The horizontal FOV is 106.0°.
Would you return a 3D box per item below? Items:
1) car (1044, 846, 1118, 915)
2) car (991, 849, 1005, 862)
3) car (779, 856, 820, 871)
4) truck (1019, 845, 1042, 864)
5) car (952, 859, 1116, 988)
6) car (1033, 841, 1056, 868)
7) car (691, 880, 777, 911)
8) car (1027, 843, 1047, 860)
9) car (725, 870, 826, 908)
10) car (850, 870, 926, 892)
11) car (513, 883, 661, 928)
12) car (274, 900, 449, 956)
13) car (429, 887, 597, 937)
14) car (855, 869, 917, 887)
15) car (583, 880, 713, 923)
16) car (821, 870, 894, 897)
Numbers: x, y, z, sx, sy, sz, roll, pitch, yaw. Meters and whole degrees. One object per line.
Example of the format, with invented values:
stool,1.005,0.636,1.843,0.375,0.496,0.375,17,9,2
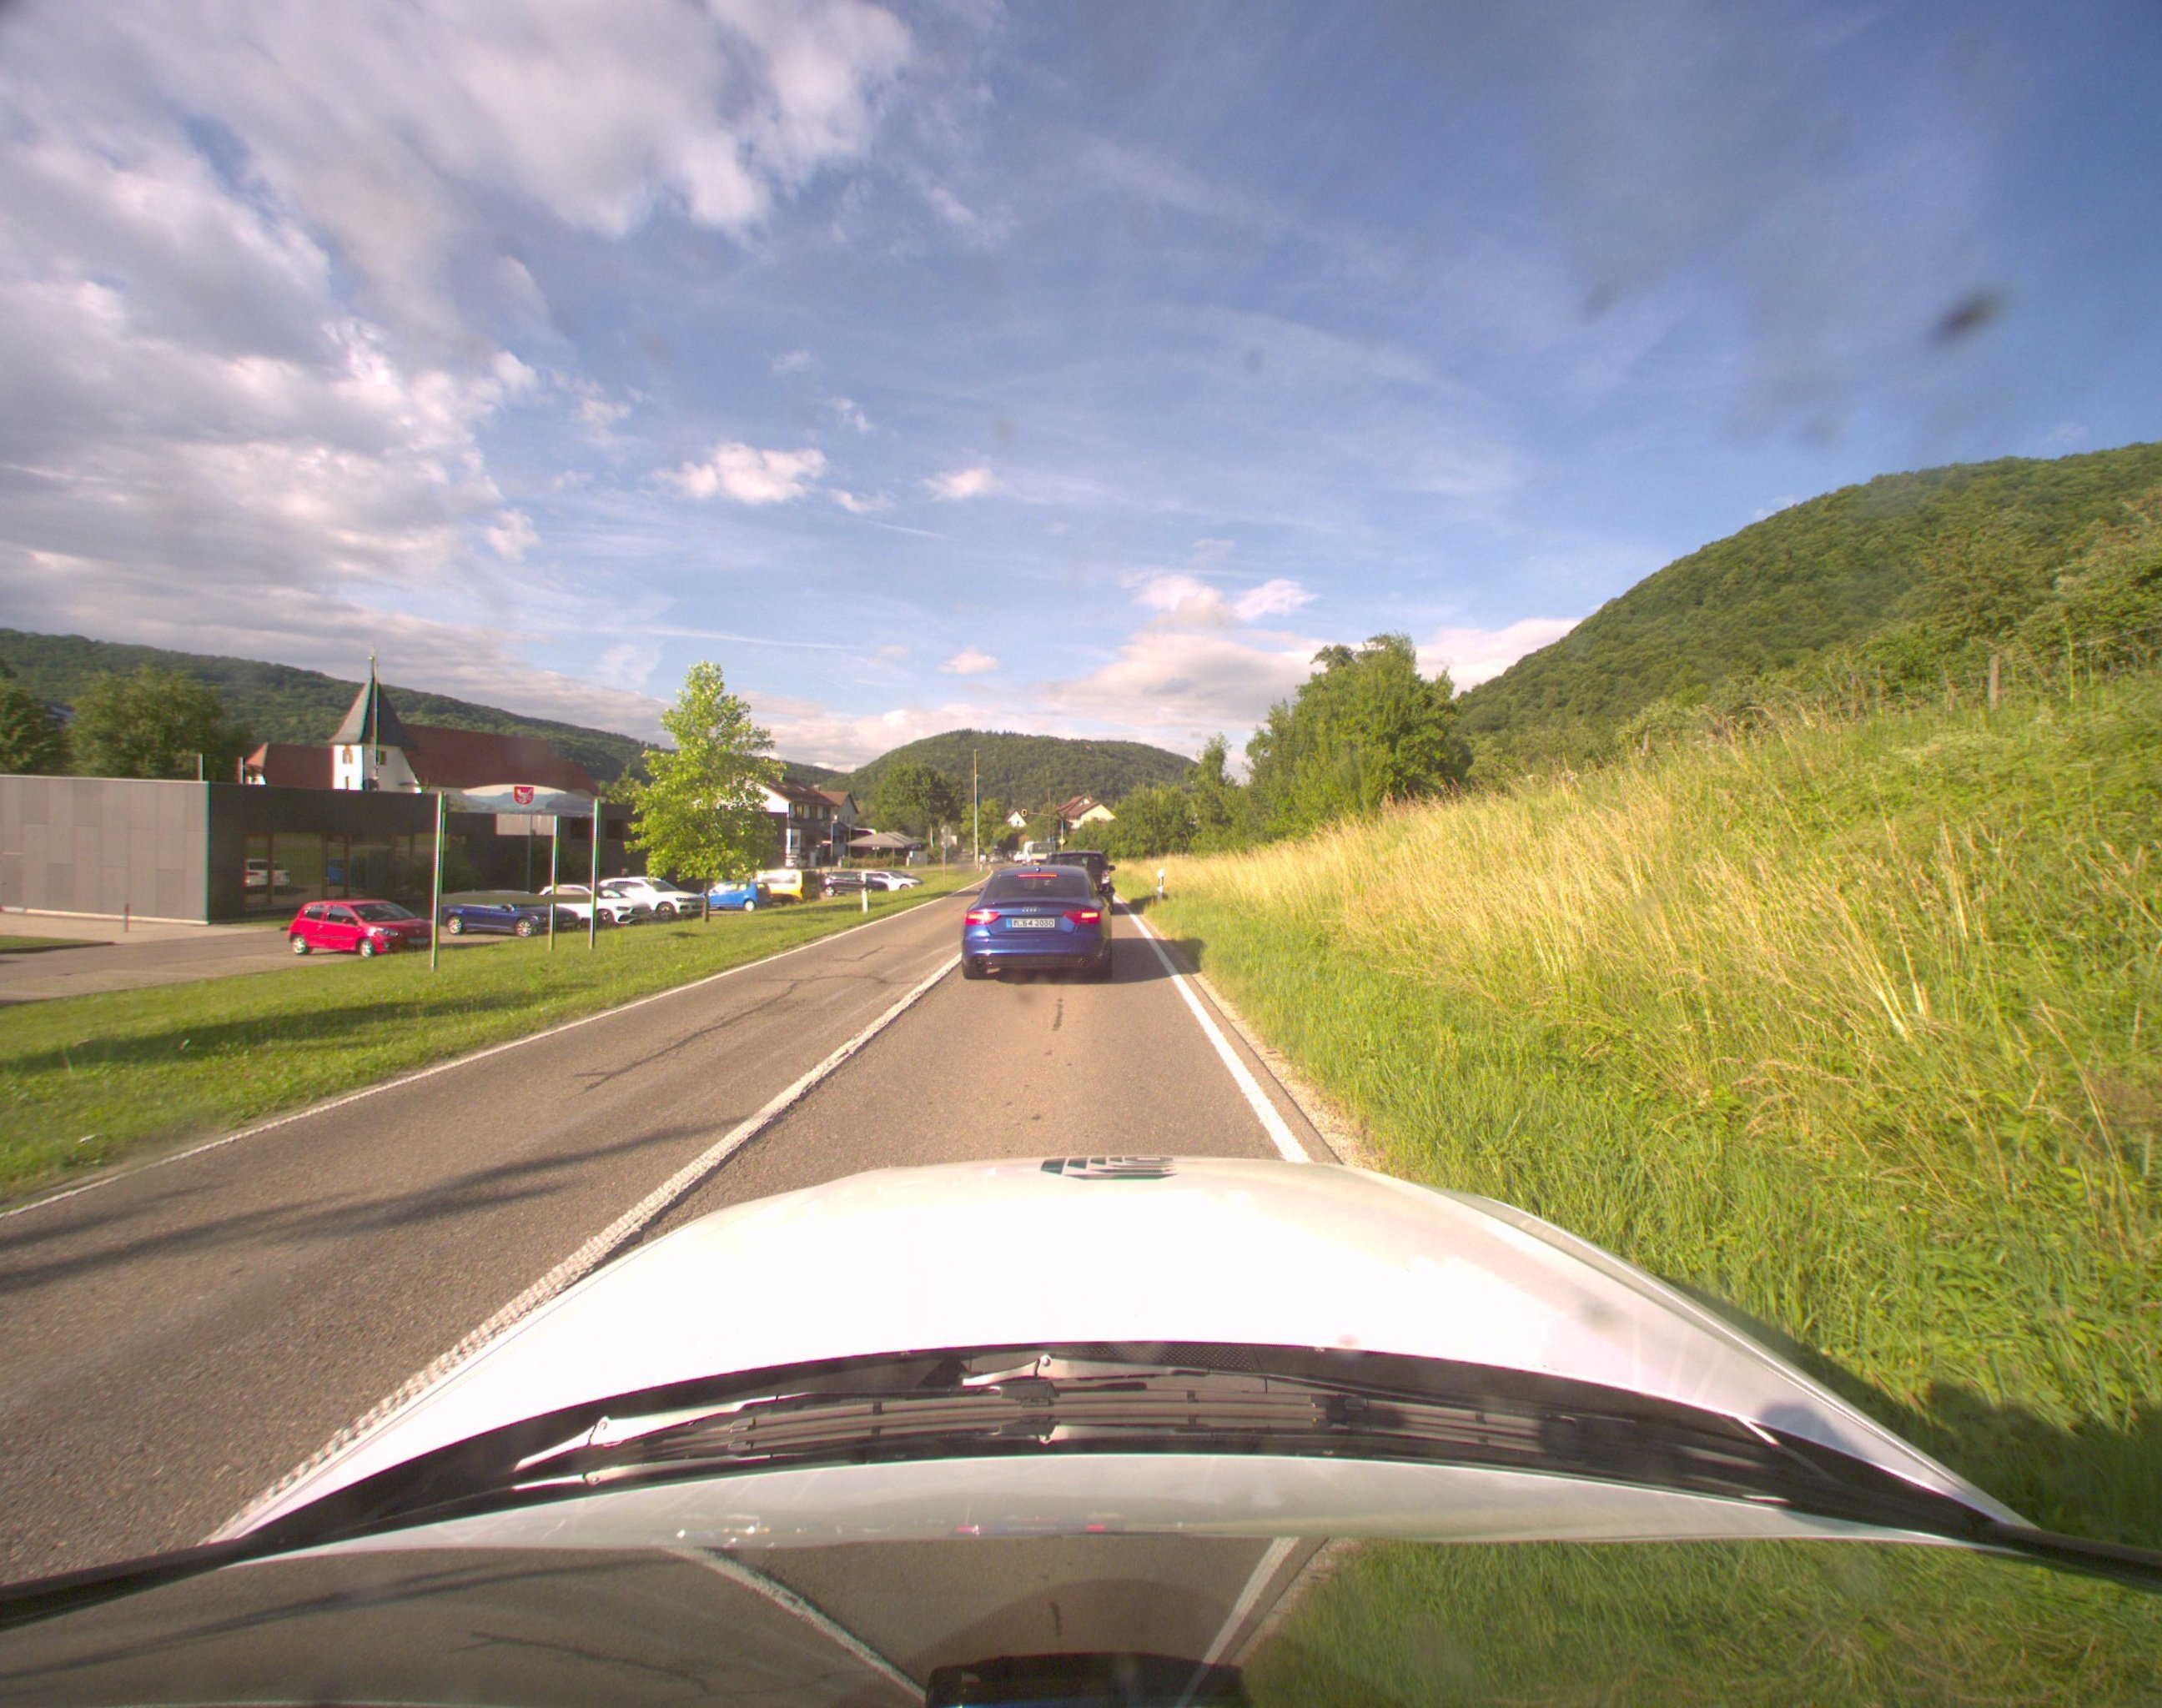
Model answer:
car,0.088,0.647,21.273,1.739,1.639,4.002,0,-1,2
car,-10.493,0.196,102.313,1.733,1.662,3.463,0,-1,-7
car,-28.850,0.951,83.521,1.749,1.442,4.021,-1,-1,22
truck,-5.389,0.065,86.419,1.698,1.953,5.899,0,-1,-11
car,-0.439,0.790,11.011,1.788,1.388,4.002,-1,-1,2
car,-3.179,0.051,69.741,1.744,2.195,3.991,0,-1,-6
car,-16.941,2.019,39.812,3.474,1.472,1.636,0,-1,7
car,-4.447,-0.255,81.482,1.744,1.639,3.991,0,-1,-6
car,-15.879,1.792,42.409,4.578,1.868,2.007,0,-1,13
car,-13.443,1.866,56.881,4.784,1.493,1.886,0,-1,9
car,-18.655,1.910,30.849,4.511,1.555,2.005,0,-1,9
car,-19.896,2.006,22.584,3.698,1.398,1.620,0,-1,9
car,-19.188,1.912,27.596,4.511,1.555,2.005,0,-1,9
car,-14.182,1.741,59.315,3.967,1.310,1.763,0,-1,5
car,-18.133,1.961,34.216,4.511,1.703,2.005,0,-1,9
car,-14.339,1.877,52.357,4.000,1.637,2.005,0,-1,9
